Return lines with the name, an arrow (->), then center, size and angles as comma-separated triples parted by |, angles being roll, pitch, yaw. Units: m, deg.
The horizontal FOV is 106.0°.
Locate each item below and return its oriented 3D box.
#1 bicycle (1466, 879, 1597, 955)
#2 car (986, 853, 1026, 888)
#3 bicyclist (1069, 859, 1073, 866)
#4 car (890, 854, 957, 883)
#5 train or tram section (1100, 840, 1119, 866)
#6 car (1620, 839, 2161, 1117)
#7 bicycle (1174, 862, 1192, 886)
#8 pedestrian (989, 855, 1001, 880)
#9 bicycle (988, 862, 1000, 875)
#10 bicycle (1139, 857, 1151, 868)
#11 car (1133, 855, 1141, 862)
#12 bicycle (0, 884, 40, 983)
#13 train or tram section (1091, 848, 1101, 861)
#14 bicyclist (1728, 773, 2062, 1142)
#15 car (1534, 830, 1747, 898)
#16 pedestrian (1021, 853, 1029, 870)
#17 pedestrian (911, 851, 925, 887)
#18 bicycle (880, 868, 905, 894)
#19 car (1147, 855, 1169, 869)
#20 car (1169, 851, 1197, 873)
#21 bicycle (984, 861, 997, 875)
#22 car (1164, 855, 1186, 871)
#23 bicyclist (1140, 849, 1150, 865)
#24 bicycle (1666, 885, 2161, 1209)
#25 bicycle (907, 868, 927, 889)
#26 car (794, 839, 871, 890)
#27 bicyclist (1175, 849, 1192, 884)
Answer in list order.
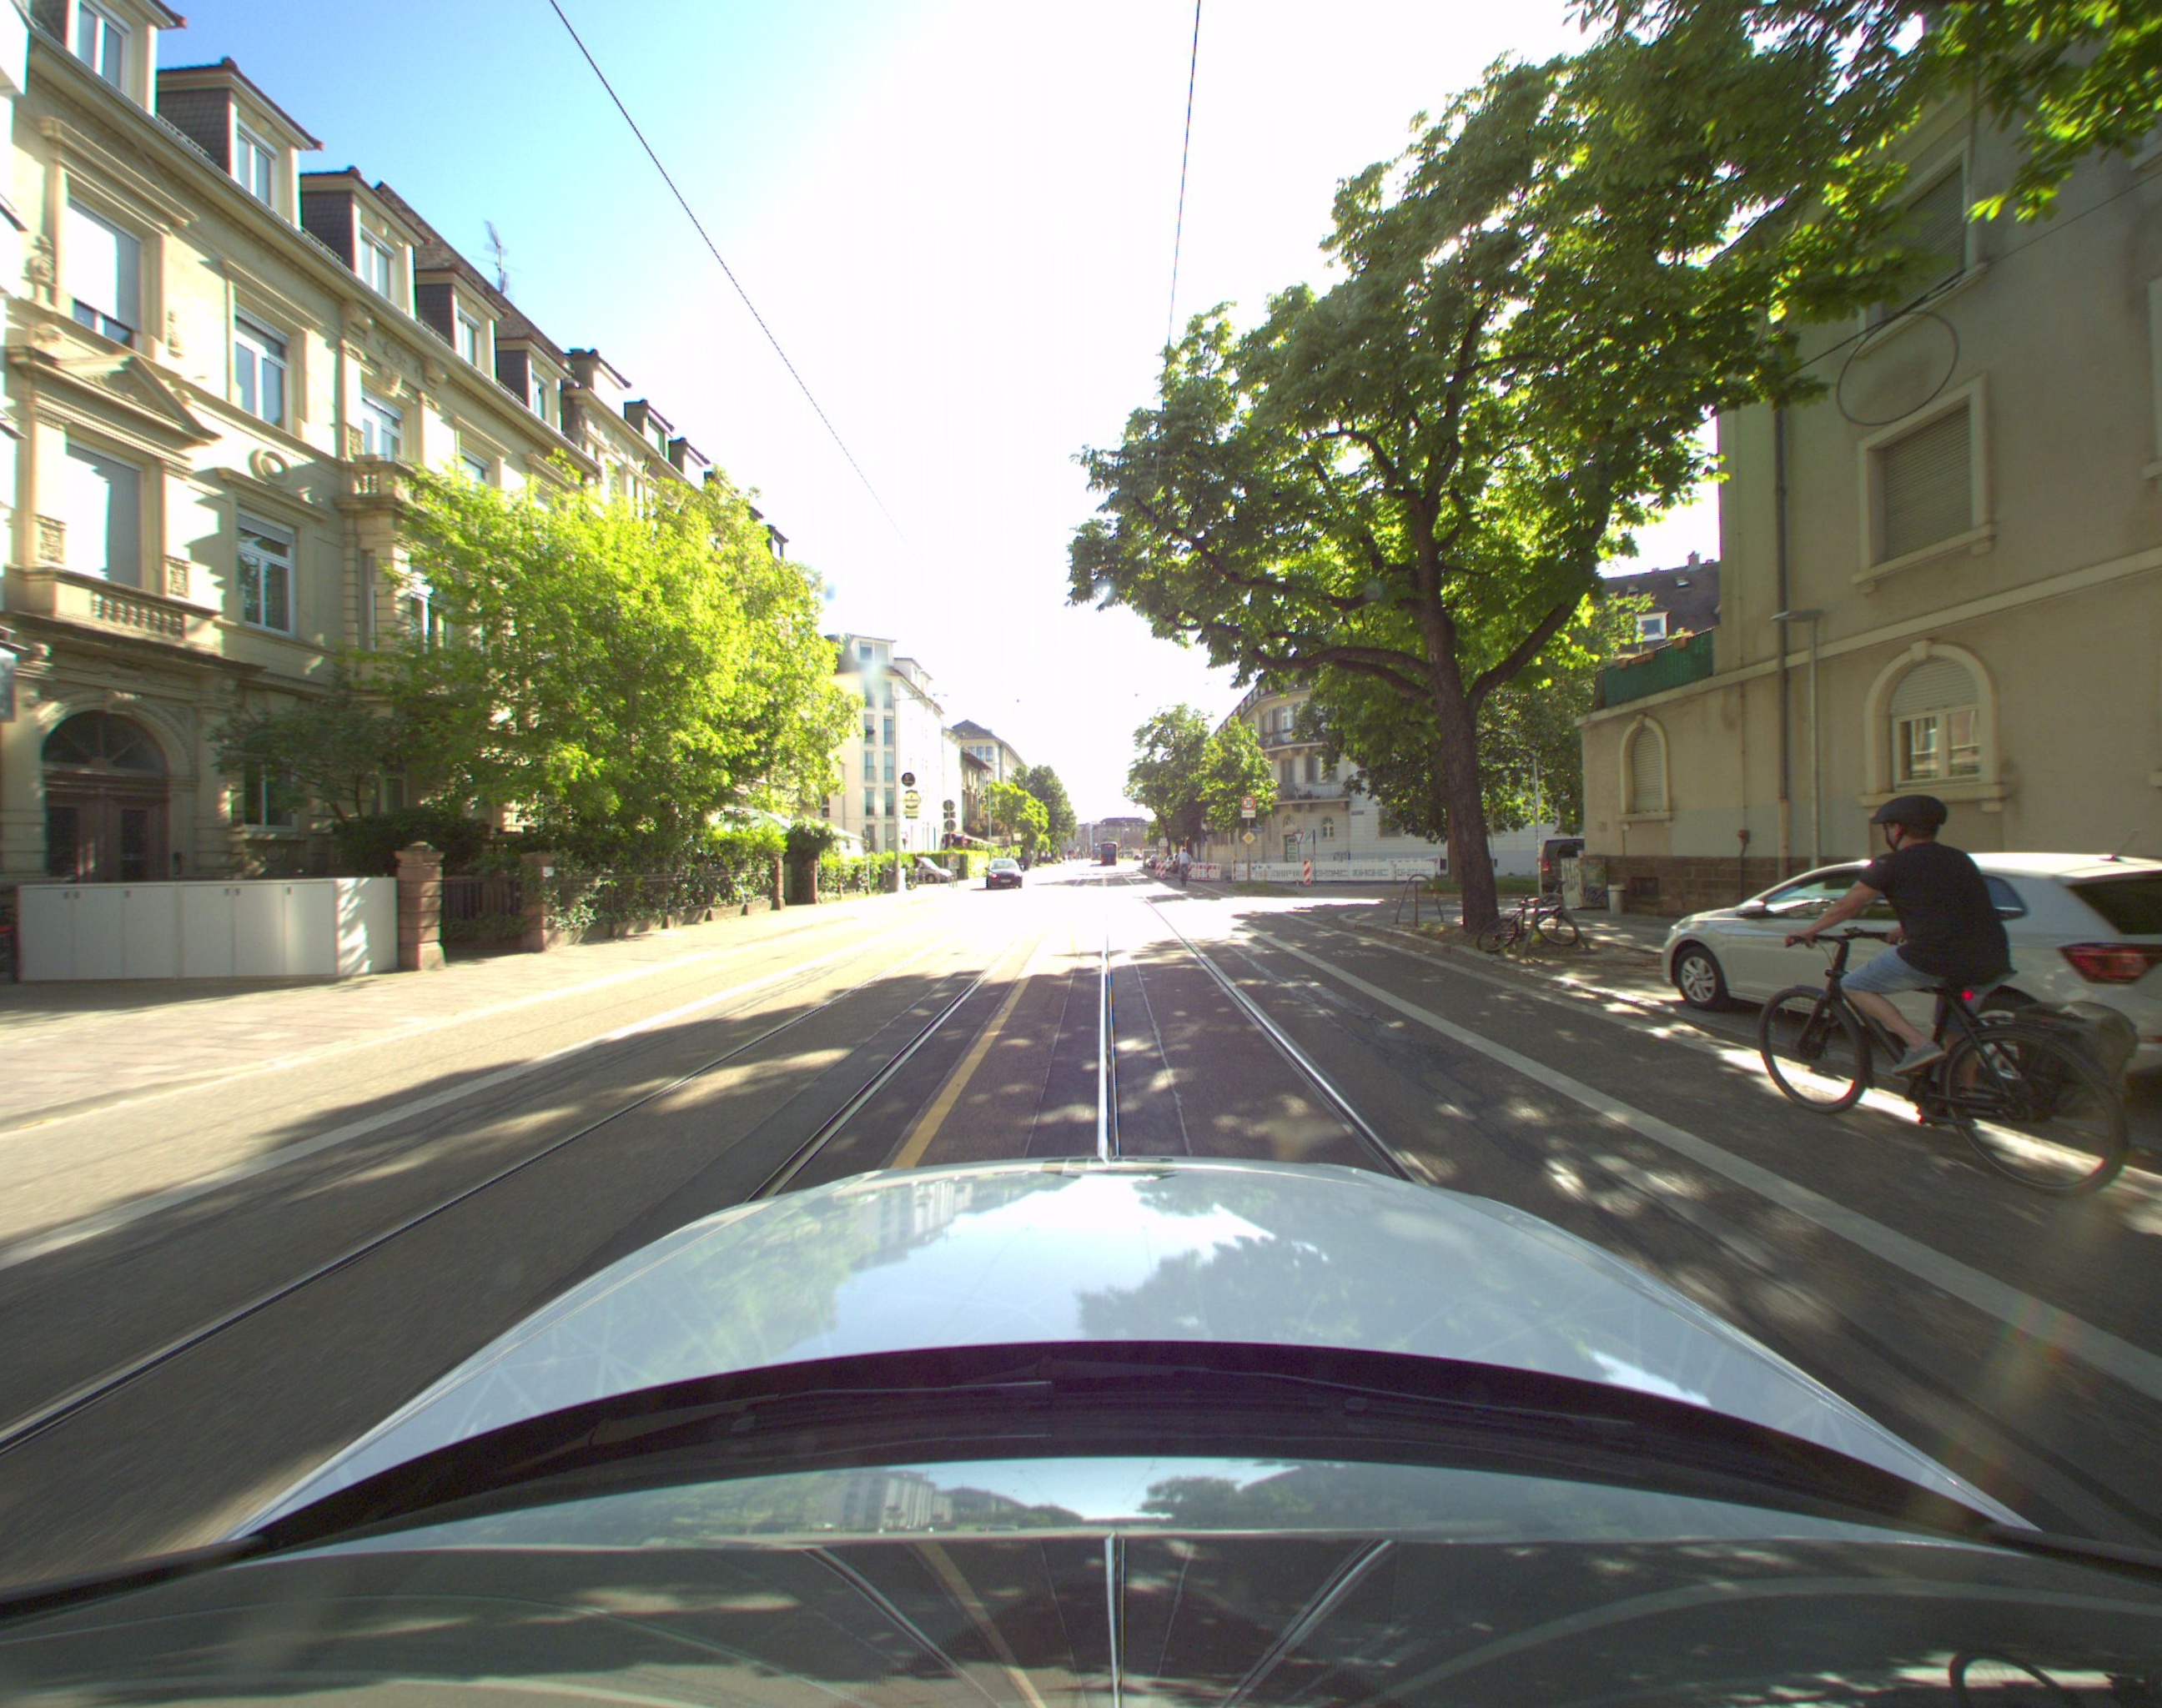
bicycle -> 6.527, 0.897, 11.832 | 1.564, 0.980, 0.639 | -2, 0, -8
car -> -3.870, 0.827, 41.773 | 1.862, 1.576, 4.578 | -3, 0, -6
bicyclist -> -2.294, 1.910, 186.678 | 0.683, 1.644, 1.239 | -3, -1, 6
car -> -10.481, 0.977, 54.077 | 4.005, 1.807, 1.801 | -2, -2, 22
train or tram section -> 4.231, -0.116, 123.454 | 2.732, 3.651, 13.787 | -1, 0, 1
car -> 6.519, 0.666, 6.519 | 1.695, 1.472, 4.216 | -2, 0, 2
bicycle -> 4.931, 0.953, 39.314 | 0.735, 1.094, 2.113 | 0, 0, 4
pedestrian -> -6.239, 0.986, 58.901 | 0.689, 1.768, 0.866 | -1, 0, 2
bicycle -> -7.198, 1.190, 67.288 | 0.659, 1.089, 1.841 | 2, -1, 2
bicycle -> 6.795, 0.910, 86.440 | 0.699, 1.104, 1.726 | 1, 0, 21
car -> 13.028, 1.043, 190.330 | 1.780, 1.604, 3.719 | 0, 0, 6
bicycle -> -13.673, 0.993, 10.384 | 1.086, 1.202, 0.360 | -1, -1, 31
train or tram section -> 4.572, 0.118, 244.962 | 2.732, 3.651, 13.787 | -1, 0, 1
bicyclist -> 4.252, 0.487, 4.364 | 0.758, 1.738, 1.047 | 0, 0, 1
car -> 16.484, 0.336, 24.384 | 5.003, 1.891, 2.012 | -1, -2, 27
pedestrian -> -6.188, 0.788, 89.709 | 0.570, 1.831, 0.693 | -1, -1, 20
pedestrian -> -8.145, 0.768, 40.663 | 0.555, 1.781, 0.538 | -1, -1, -2
bicycle -> -8.130, 1.139, 35.198 | 0.511, 1.038, 2.224 | -1, 0, 2
car -> 8.445, 0.891, 89.840 | 1.817, 1.458, 4.815 | -3, 0, -2
car -> 8.112, 0.625, 65.302 | 1.803, 1.626, 4.586 | -3, 0, 2
bicycle -> -7.250, 1.124, 65.228 | 0.659, 1.089, 1.841 | 2, -1, 2
car -> 8.432, 0.780, 73.160 | 1.716, 1.382, 4.360 | -3, 0, 3
bicyclist -> 6.807, 0.264, 86.452 | 0.699, 1.675, 1.107 | 1, 0, 21
bicycle -> 4.251, 0.828, 4.376 | 0.758, 1.242, 2.097 | 0, 0, 1
bicycle -> -7.856, 1.160, 39.083 | 0.525, 0.981, 1.778 | -1, 0, 2
car -> -14.598, 0.641, 48.053 | 1.871, 2.841, 4.806 | -2, -2, 18
bicyclist -> 4.933, 0.585, 39.304 | 0.735, 1.686, 0.972 | 0, 0, 3
